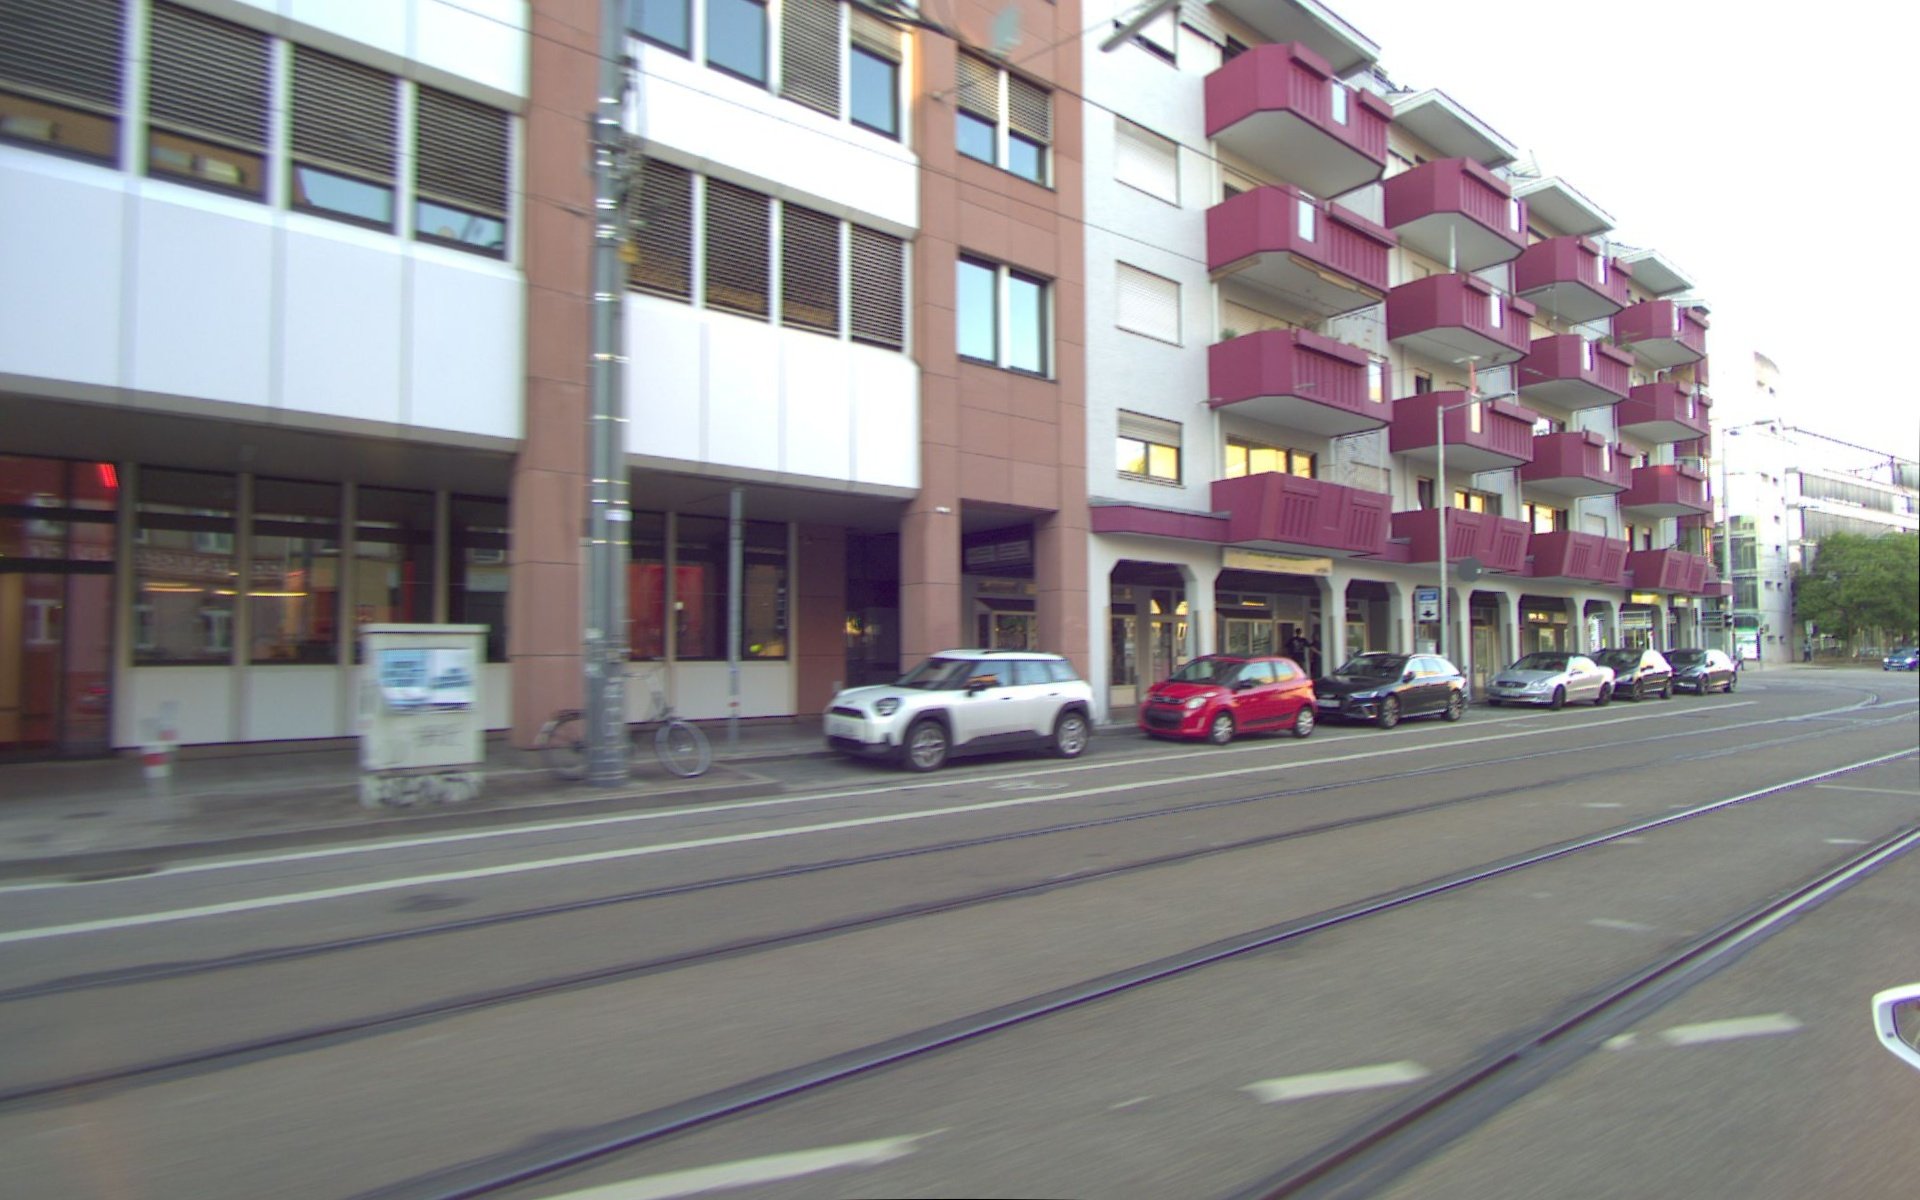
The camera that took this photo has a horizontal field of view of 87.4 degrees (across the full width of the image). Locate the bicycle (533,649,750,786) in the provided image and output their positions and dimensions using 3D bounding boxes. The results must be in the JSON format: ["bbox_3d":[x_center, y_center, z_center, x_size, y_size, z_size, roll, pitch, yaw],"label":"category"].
[{"bbox_3d":[-3.530,1.260,11.254,2.233,1.395,0.605,1,-3,-32],"label":"bicycle"}]

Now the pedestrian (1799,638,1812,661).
[{"bbox_3d":[71.111,4.189,84.487,0.544,1.947,0.656,2,-4,-42],"label":"pedestrian"}]

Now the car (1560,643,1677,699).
[{"bbox_3d":[19.945,2.100,30.358,4.164,1.528,1.774,2,-2,-39],"label":"car"}]

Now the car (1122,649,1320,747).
[{"bbox_3d":[4.625,1.631,17.615,3.448,1.499,1.599,2,-2,-38],"label":"car"}]

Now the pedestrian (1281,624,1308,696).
[{"bbox_3d":[9.542,1.716,28.673,0.524,2.040,0.518,2,-4,-44],"label":"pedestrian"}]

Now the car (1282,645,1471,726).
[{"bbox_3d":[8.921,1.733,21.352,4.448,1.499,1.976,2,-2,-41],"label":"car"}]

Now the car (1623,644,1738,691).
[{"bbox_3d":[24.313,2.242,33.817,5.042,1.475,1.838,2,-4,-39],"label":"car"}]

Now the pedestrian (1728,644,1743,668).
[{"bbox_3d":[57.092,4.096,73.937,0.650,1.733,0.545,1,-3,-22],"label":"pedestrian"}]

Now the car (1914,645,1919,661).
[{"bbox_3d":[92.045,4.988,94.877,4.191,1.521,1.675,1,-3,-31],"label":"car"}]

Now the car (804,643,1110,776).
[{"bbox_3d":[0.052,1.412,14.122,4.167,1.576,1.703,2,-2,-39],"label":"car"}]

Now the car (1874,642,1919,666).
[{"bbox_3d":[69.547,4.016,74.318,4.189,1.722,1.675,1,-3,-30],"label":"car"}]

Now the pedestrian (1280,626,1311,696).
[{"bbox_3d":[9.294,1.688,27.821,0.519,1.896,0.614,0,-3,-18],"label":"pedestrian"}]

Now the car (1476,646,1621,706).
[{"bbox_3d":[15.605,1.952,26.536,4.633,1.432,1.679,2,-2,-37],"label":"car"}]
